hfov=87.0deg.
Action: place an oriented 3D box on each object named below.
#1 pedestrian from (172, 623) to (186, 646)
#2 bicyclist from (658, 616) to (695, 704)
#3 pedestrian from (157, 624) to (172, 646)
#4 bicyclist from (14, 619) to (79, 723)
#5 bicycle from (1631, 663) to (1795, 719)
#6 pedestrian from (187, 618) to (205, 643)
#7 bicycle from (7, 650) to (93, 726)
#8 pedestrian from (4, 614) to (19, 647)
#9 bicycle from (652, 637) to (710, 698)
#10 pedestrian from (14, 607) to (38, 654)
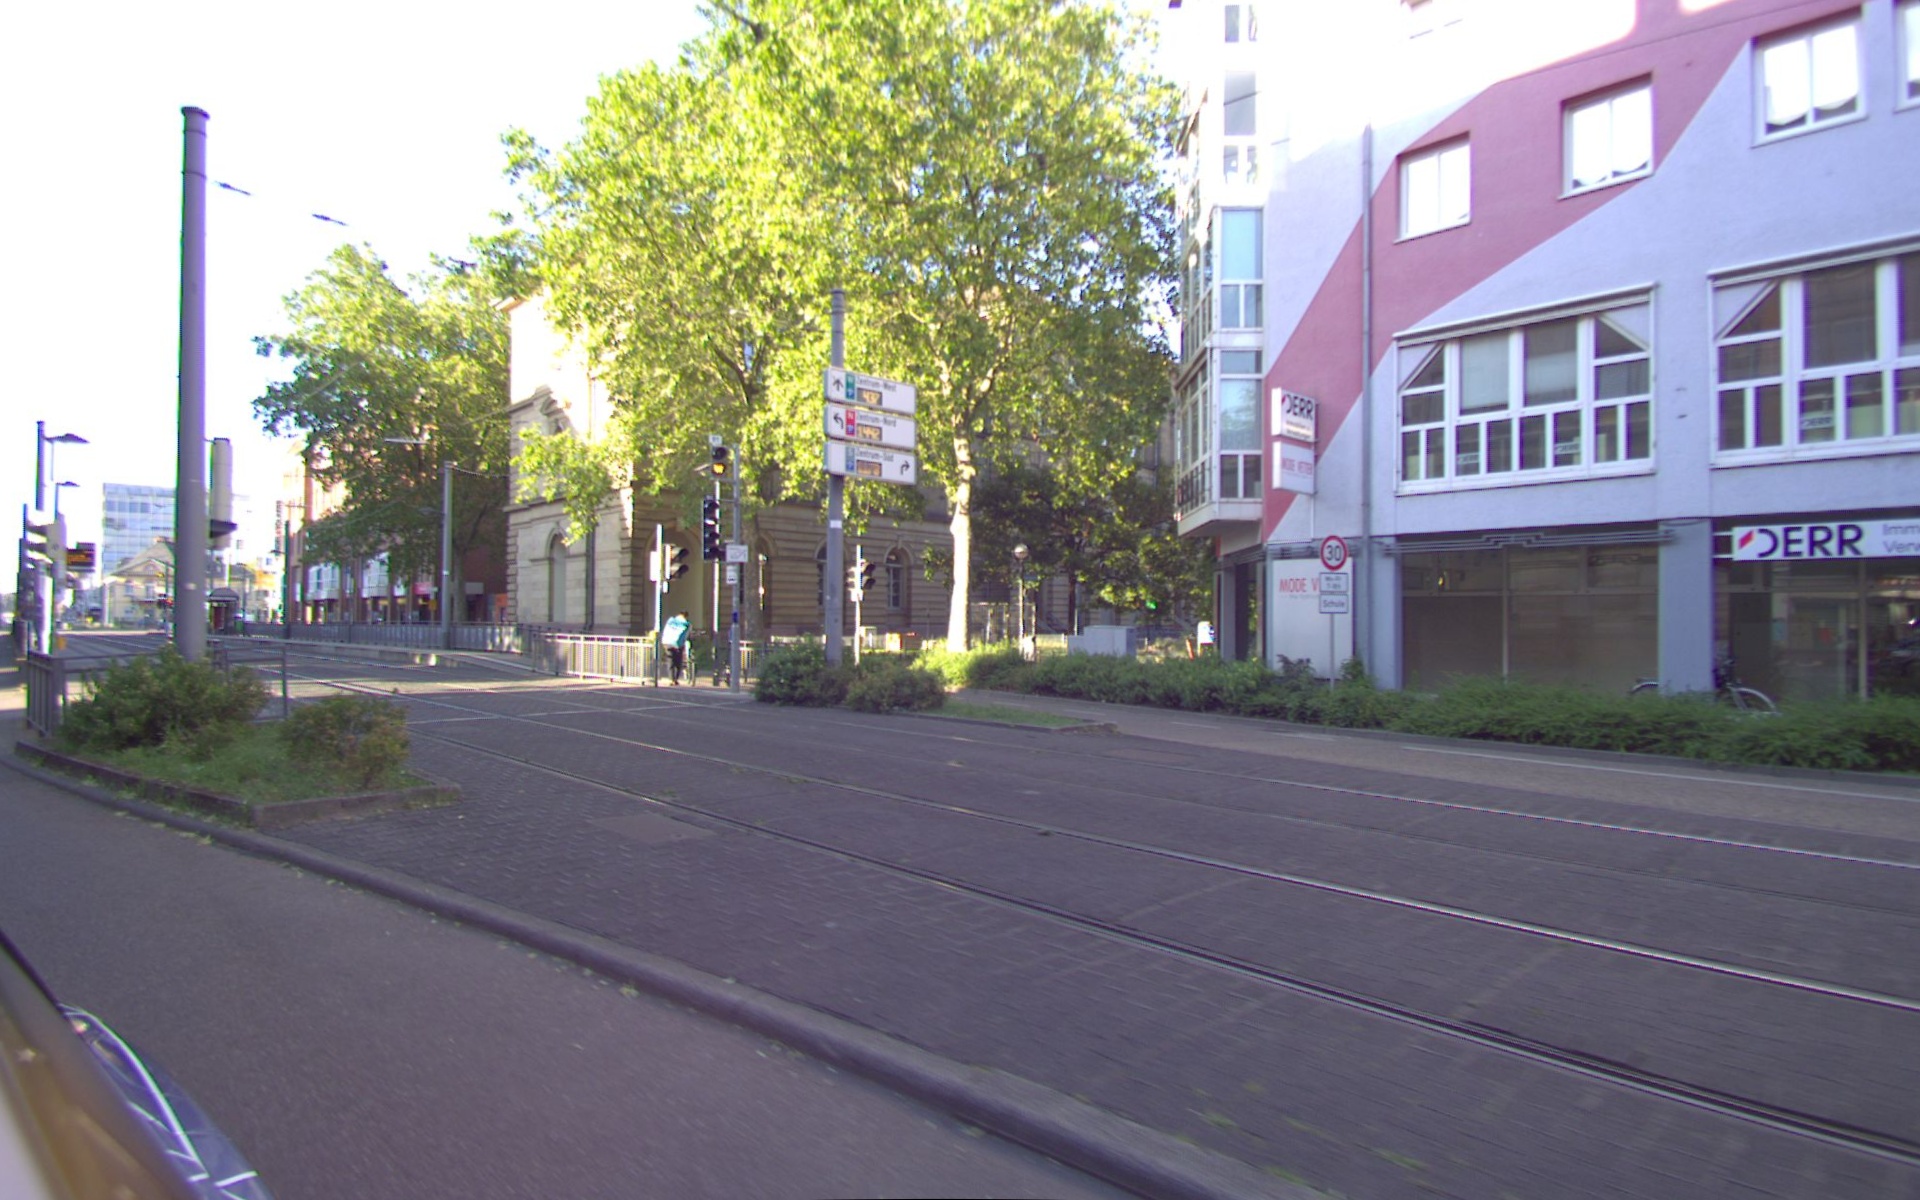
[{"bbox_3d":[-63.653,2.800,82.506,0.847,1.780,0.813,-2,0,-36],"label":"pedestrian"},{"bbox_3d":[-5.688,1.195,20.311,0.526,1.725,0.745,0,-2,1],"label":"bicyclist"},{"bbox_3d":[-64.407,2.824,81.955,0.847,1.780,0.813,-2,0,-35],"label":"pedestrian"},{"bbox_3d":[-14.343,1.091,15.897,0.742,1.590,0.528,-1,-2,30],"label":"bicyclist"},{"bbox_3d":[10.522,1.259,14.188,1.809,0.663,0.451,-1,1,41],"label":"bicycle"},{"bbox_3d":[-52.568,2.072,69.631,0.900,1.674,0.968,1,-2,-45],"label":"pedestrian"},{"bbox_3d":[-14.406,1.364,16.009,1.895,1.086,0.577,-1,0,35],"label":"bicycle"},{"bbox_3d":[-52.296,1.691,55.812,0.606,1.805,0.576,-1,-2,44],"label":"pedestrian"},{"bbox_3d":[-5.641,1.343,20.565,0.576,1.086,1.898,-2,0,2],"label":"bicycle"},{"bbox_3d":[-35.271,1.153,38.233,0.615,1.725,0.850,1,-2,-44],"label":"pedestrian"}]
